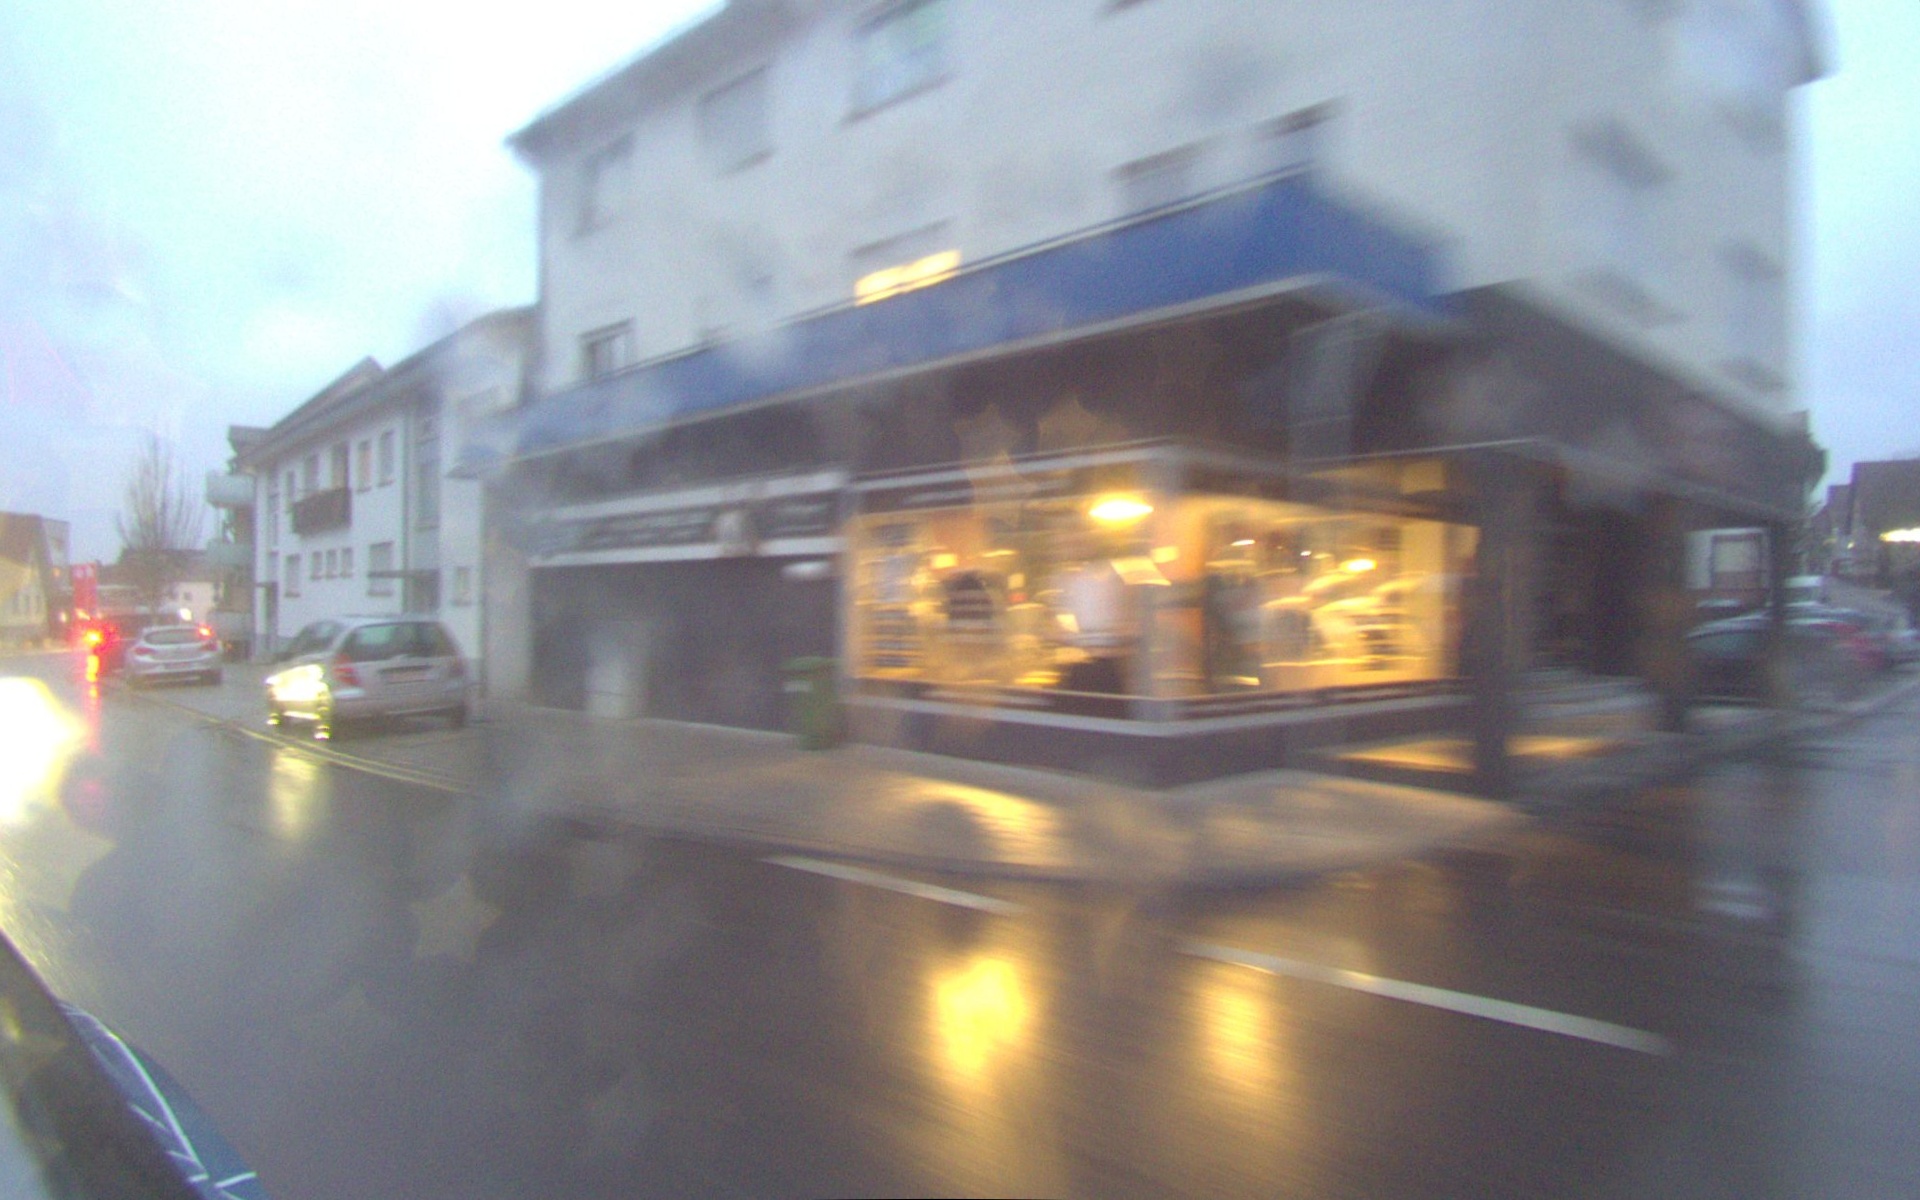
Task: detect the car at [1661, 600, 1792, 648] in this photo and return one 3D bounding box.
[{"bbox_3d":[31.911,1.032,42.259,3.946,1.898,1.690,-2,-3,23],"label":"car"}]

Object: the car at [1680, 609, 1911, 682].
[{"bbox_3d":[20.290,1.142,24.785,3.946,1.665,1.690,-2,-3,23],"label":"car"}]

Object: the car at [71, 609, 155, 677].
[{"bbox_3d":[-26.799,1.336,32.145,1.856,1.914,4.843,-2,-1,-38],"label":"car"}]

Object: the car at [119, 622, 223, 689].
[{"bbox_3d":[-20.067,1.331,25.679,1.772,1.467,4.400,-2,0,-42],"label":"car"}]

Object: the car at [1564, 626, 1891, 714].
[{"bbox_3d":[13.831,1.278,18.596,4.422,1.475,1.690,-2,-3,23],"label":"car"}]

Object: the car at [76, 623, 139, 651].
[{"bbox_3d":[-48.820,2.076,58.037,1.965,1.511,4.012,0,-1,-28],"label":"car"}]

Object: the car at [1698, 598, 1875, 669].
[{"bbox_3d":[26.343,1.104,32.426,3.946,2.110,1.690,-2,-3,23],"label":"car"}]

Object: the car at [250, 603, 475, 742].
[{"bbox_3d":[-8.461,0.921,14.202,3.816,1.626,1.702,-2,1,44],"label":"car"}]

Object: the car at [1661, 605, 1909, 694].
[{"bbox_3d":[18.545,1.146,23.000,3.946,1.885,1.690,-2,-3,23],"label":"car"}]

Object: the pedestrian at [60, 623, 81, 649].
[{"bbox_3d":[-56.698,2.300,64.497,0.641,1.674,0.650,1,-3,2],"label":"pedestrian"}]

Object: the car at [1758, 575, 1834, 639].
[{"bbox_3d":[37.111,0.338,44.878,4.924,2.686,2.002,2,-2,-43],"label":"car"}]

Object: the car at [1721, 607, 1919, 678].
[{"bbox_3d":[22.619,1.130,26.458,3.946,1.747,1.690,-2,-3,23],"label":"car"}]

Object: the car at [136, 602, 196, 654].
[{"bbox_3d":[-43.834,1.521,55.965,2.014,2.679,4.222,-3,0,-31],"label":"car"}]
